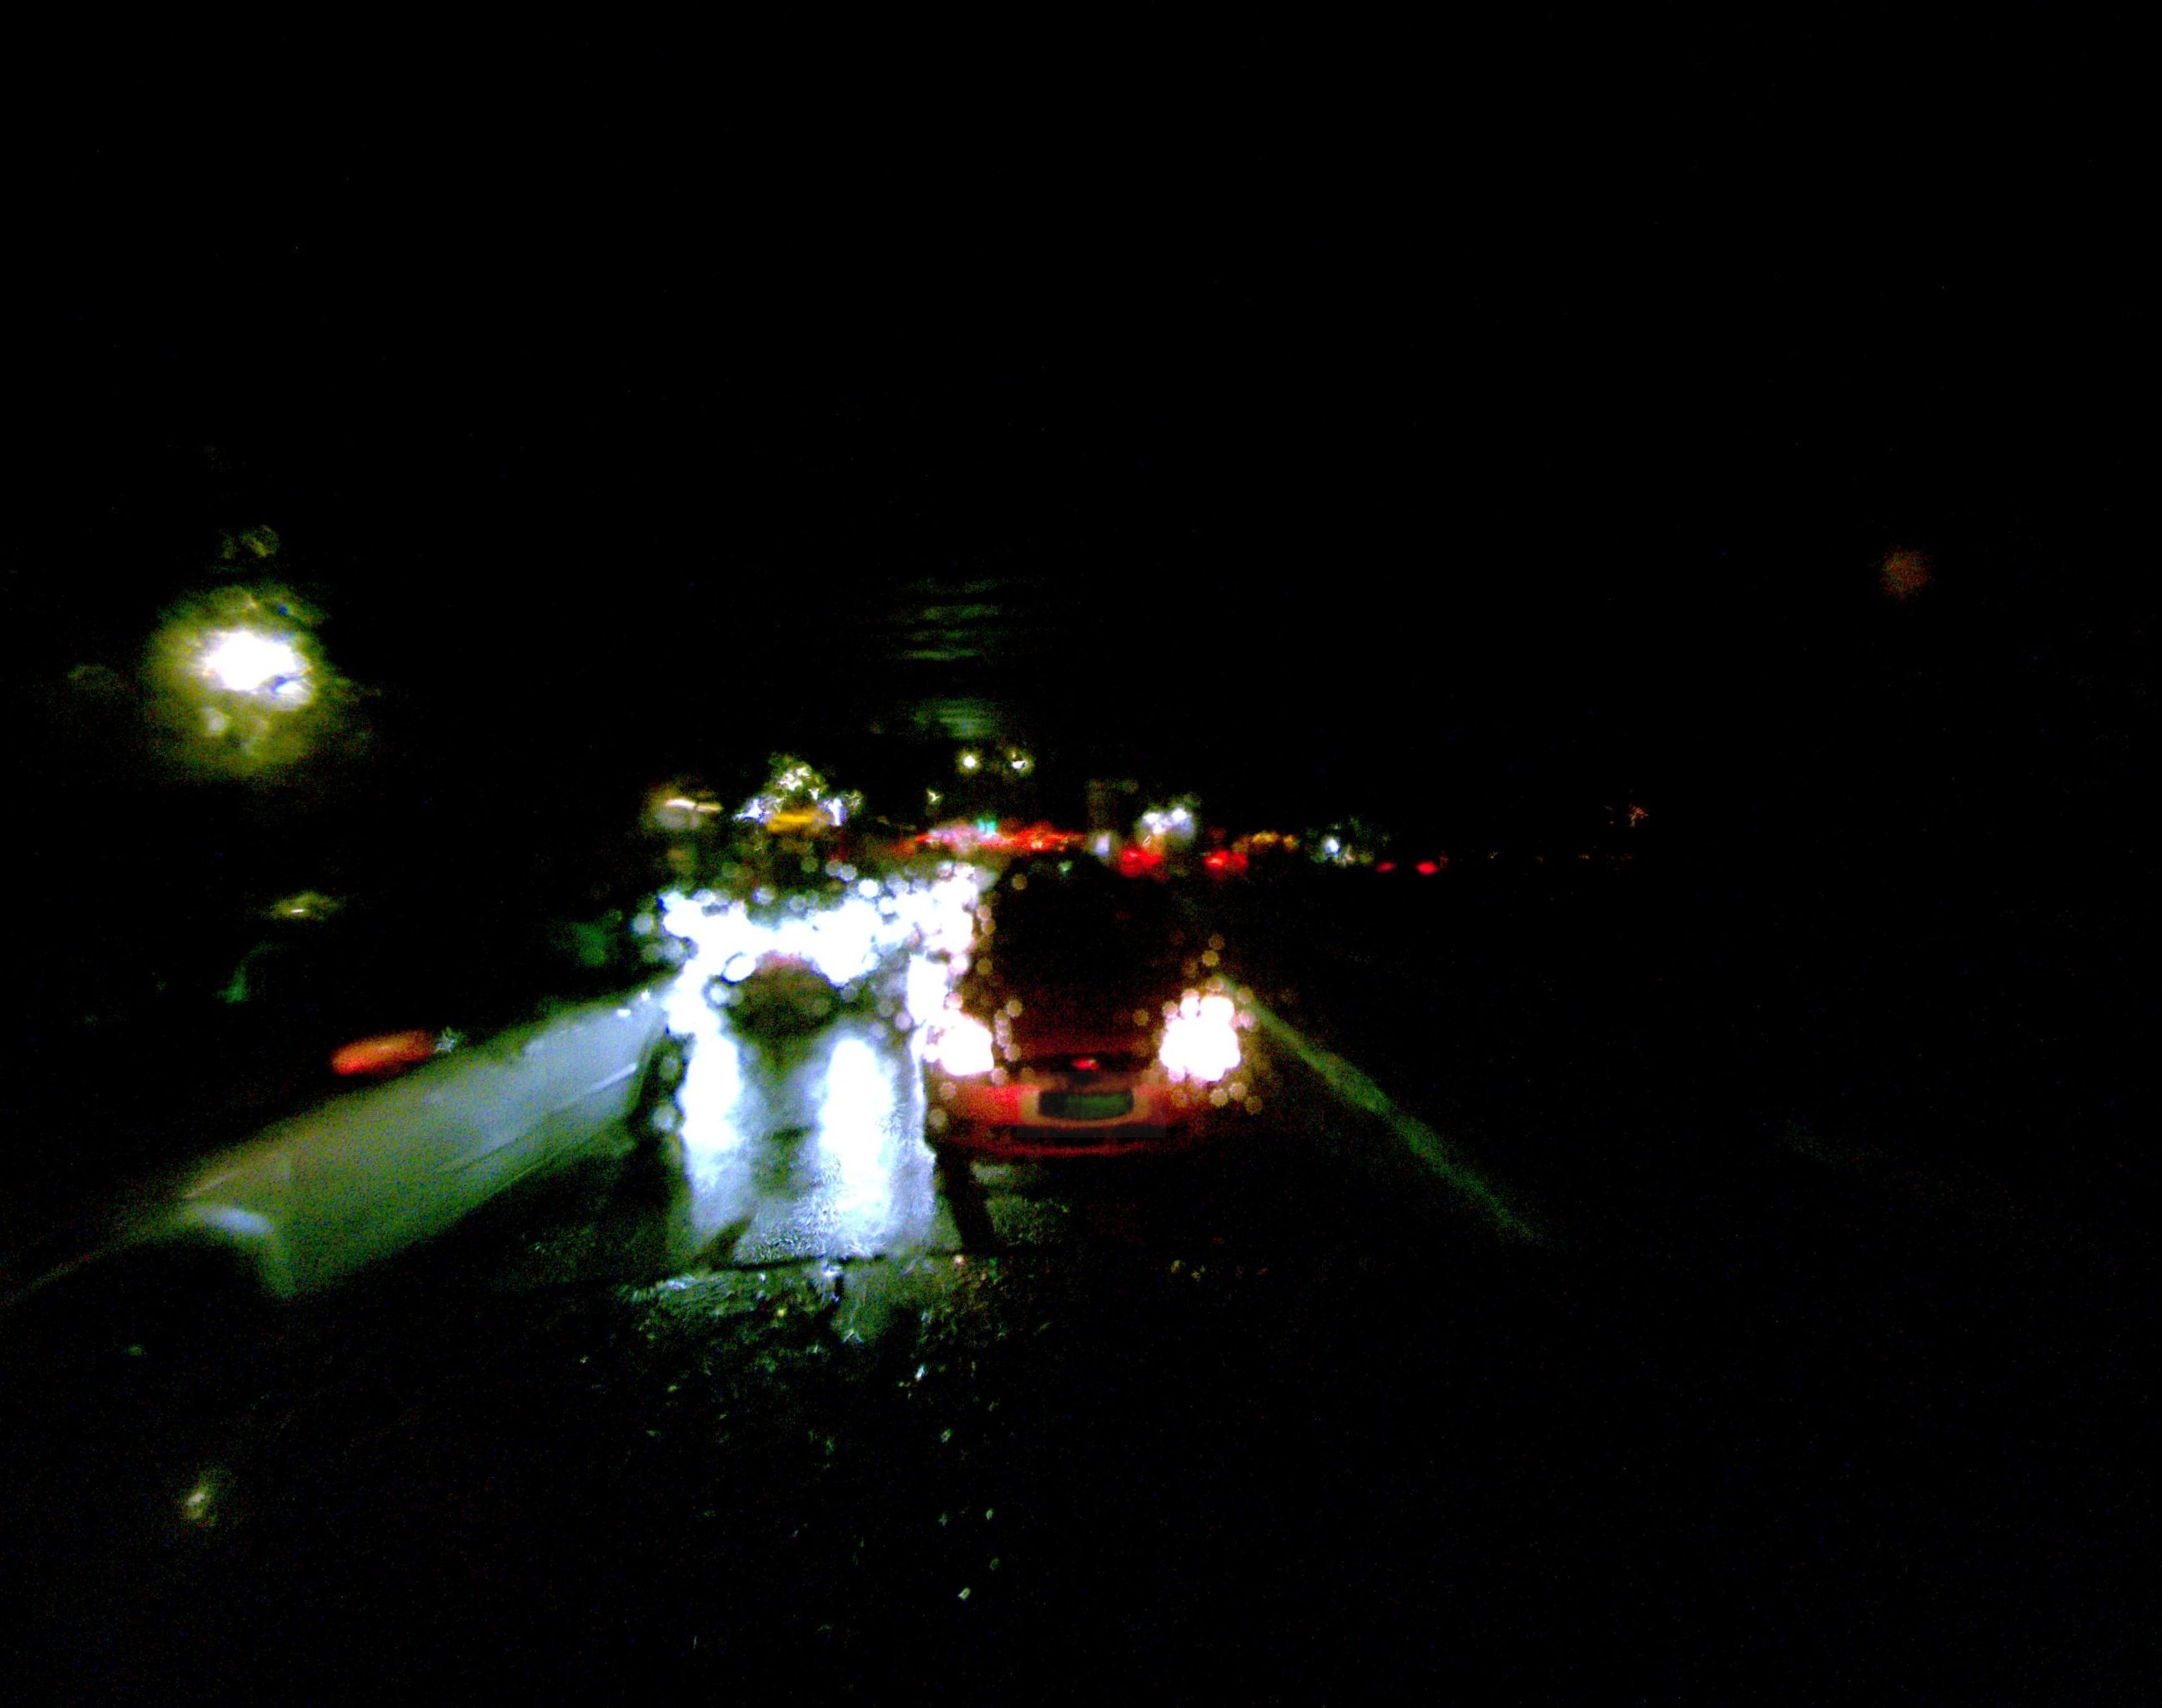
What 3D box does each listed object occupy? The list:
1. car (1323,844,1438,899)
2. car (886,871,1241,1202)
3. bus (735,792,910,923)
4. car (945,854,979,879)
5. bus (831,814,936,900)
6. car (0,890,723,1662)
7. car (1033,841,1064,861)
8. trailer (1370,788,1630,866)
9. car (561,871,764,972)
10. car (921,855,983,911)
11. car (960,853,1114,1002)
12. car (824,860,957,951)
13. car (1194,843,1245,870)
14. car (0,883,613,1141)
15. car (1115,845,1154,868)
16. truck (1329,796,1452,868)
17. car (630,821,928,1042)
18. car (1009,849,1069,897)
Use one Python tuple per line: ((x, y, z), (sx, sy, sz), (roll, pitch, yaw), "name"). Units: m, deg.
((9.838, 0.518, 25.290), (1.999, 1.596, 3.998), (-2, 1, -4), "car")
((-0.053, 0.896, 5.510), (1.603, 1.360, 3.942), (-2, 1, 1), "car")
((-7.403, 0.097, 23.429), (2.777, 3.105, 9.757), (-2, 0, -5), "bus")
((-7.743, 0.749, 49.096), (1.685, 1.463, 3.994), (-2, 1, -15), "car")
((-8.279, 0.135, 33.142), (2.777, 3.105, 9.757), (-2, 0, -5), "bus")
((-3.154, 0.991, 2.696), (1.792, 1.359, 3.999), (-2, 2, 0), "car")
((-3.362, -0.261, 76.783), (2.001, 1.915, 3.993), (-3, 1, -19), "car")
((26.129, -1.620, 48.155), (13.903, 4.152, 3.971), (-2, 1, 6), "trailer")
((-7.177, 1.074, 13.502), (1.755, 1.422, 3.758), (-1, 0, -5), "car")
((-3.911, 0.835, 23.582), (1.630, 1.494, 3.997), (-2, 1, -7), "car")
((-0.473, 0.840, 10.620), (1.683, 1.591, 3.996), (-2, 1, 1), "car")
((-3.713, 0.934, 15.475), (1.869, 1.503, 3.765), (-2, 1, -3), "car")
((8.676, 0.136, 47.867), (1.824, 1.595, 4.139), (-2, 1, -10), "car")
((-6.519, 1.059, 6.887), (1.756, 1.382, 4.566), (-2, 0, -1), "car")
((3.777, 0.170, 53.908), (2.000, 1.510, 3.997), (-2, 1, -7), "car")
((19.685, -1.377, 48.755), (6.369, 4.152, 3.971), (-2, 1, 6), "truck")
((-3.375, 0.736, 9.580), (1.999, 2.076, 4.347), (-2, 1, -1), "car")
((-1.576, 0.617, 27.281), (1.882, 1.534, 3.997), (-2, 1, -6), "car")
